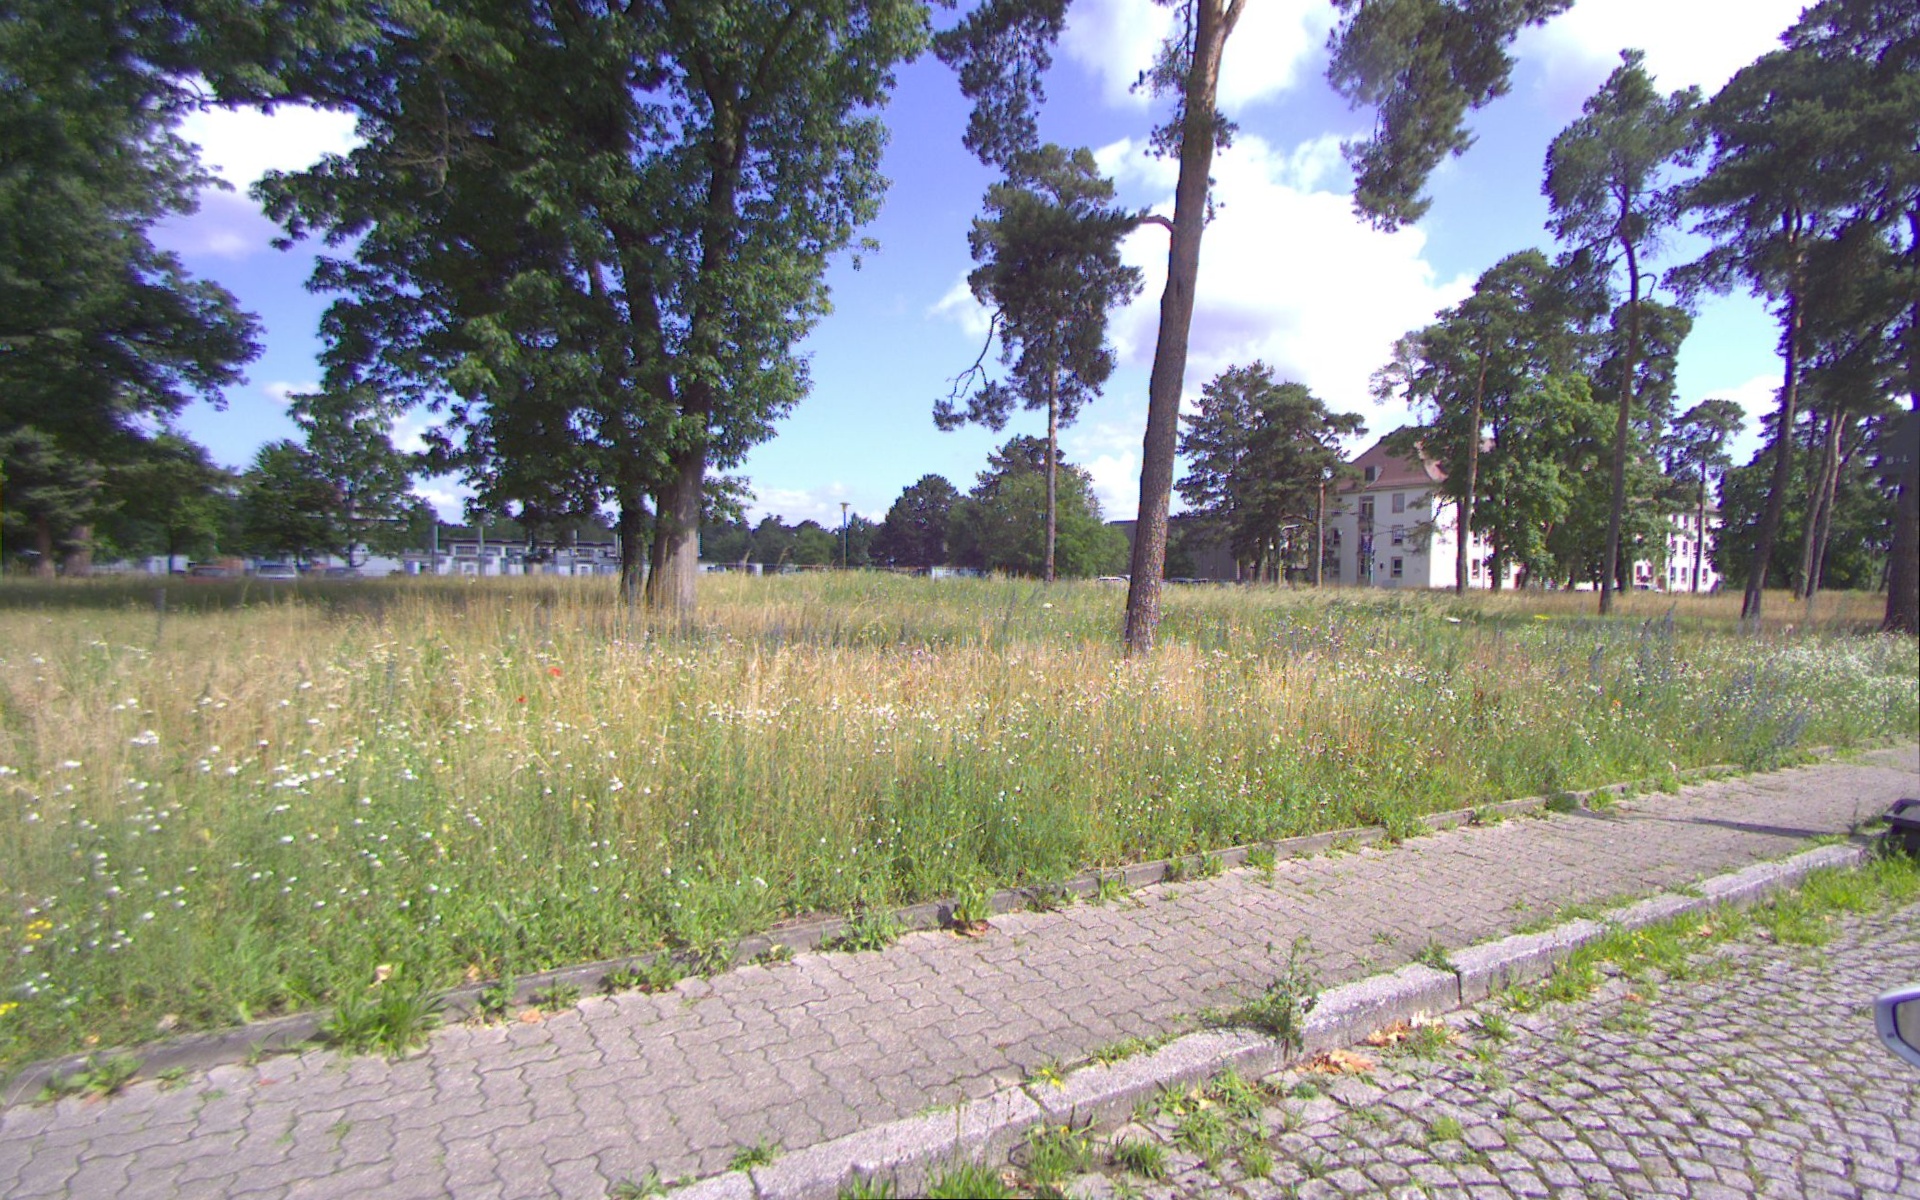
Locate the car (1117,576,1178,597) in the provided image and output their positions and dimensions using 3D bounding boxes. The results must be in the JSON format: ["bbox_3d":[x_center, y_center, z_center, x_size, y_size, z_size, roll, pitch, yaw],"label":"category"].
[{"bbox_3d":[12.627,-0.946,67.803,1.879,1.357,4.045,0,1,-31],"label":"car"}]

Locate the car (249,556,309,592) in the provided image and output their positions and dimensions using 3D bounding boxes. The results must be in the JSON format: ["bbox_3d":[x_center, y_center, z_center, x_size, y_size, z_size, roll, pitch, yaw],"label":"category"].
[{"bbox_3d":[-29.173,-1.100,43.107,1.879,1.431,4.037,0,1,-31],"label":"car"}]

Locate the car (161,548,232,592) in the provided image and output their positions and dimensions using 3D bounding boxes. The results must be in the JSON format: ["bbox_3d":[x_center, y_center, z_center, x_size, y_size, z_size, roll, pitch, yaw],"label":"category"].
[{"bbox_3d":[-31.492,-1.207,41.557,1.879,1.714,4.037,0,1,-31],"label":"car"}]

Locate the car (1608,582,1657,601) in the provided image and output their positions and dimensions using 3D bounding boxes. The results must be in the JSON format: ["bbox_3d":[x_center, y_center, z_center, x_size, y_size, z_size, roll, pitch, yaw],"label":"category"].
[{"bbox_3d":[72.957,-0.921,109.018,1.692,2.018,4.041,0,1,-29],"label":"car"}]

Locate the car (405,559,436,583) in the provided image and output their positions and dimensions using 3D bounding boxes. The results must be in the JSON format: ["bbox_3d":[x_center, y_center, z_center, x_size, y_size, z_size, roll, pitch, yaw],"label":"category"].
[{"bbox_3d":[-39.924,-2.119,74.324,1.879,1.725,4.045,0,1,-31],"label":"car"}]

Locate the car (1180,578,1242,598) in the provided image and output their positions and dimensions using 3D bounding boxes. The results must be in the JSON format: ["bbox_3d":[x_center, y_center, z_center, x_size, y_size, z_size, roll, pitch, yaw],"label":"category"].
[{"bbox_3d":[17.414,-0.855,69.782,1.879,1.327,4.045,0,1,-31],"label":"car"}]
